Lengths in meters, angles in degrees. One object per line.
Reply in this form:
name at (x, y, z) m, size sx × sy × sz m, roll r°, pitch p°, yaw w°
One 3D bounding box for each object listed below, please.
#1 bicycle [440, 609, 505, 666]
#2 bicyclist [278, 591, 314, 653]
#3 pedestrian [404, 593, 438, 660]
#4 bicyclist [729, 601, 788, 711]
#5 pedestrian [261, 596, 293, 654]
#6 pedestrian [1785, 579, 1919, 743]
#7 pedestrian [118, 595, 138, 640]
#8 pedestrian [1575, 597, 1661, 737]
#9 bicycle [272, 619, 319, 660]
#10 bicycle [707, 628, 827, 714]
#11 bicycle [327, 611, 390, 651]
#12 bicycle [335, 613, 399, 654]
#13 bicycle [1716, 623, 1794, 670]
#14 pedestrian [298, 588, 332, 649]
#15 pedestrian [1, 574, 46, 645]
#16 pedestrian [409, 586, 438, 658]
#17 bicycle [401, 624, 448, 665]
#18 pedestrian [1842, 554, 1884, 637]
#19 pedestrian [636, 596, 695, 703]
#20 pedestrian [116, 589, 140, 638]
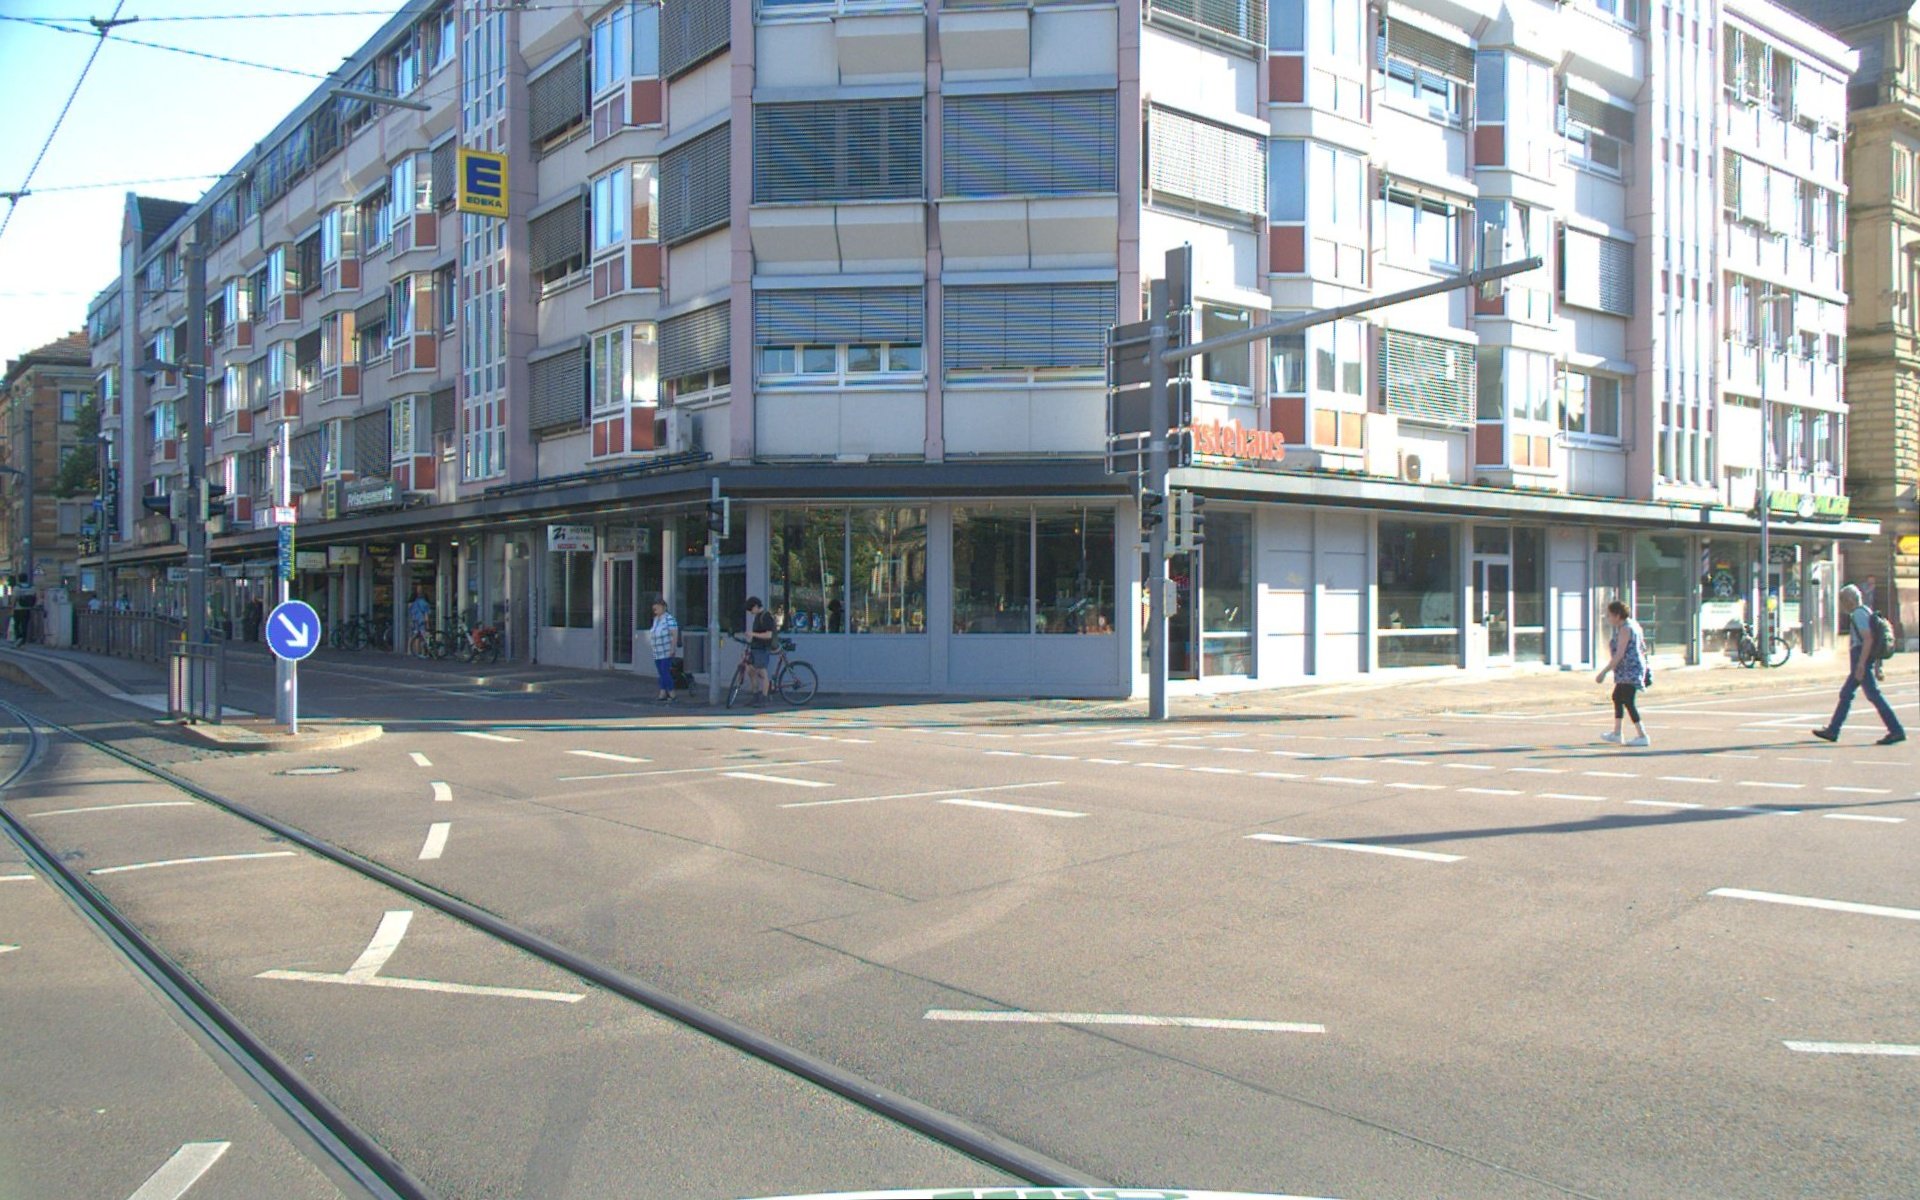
bicycle at (-11.146, 0.848, 37.766) m, size 0.721 × 1.248 × 2.303 m, roll 1°, pitch 0°, yaw -35°
bicyclist at (-17.348, 0.573, 43.233) m, size 0.615 × 1.559 × 0.800 m, roll -2°, pitch 2°, yaw -8°
pedestrian at (-13.643, 0.675, 41.853) m, size 0.596 × 1.664 × 0.604 m, roll 1°, pitch 1°, yaw 5°
bicyclist at (-3.092, 0.846, 25.354) m, size 0.651 × 1.624 × 0.632 m, roll -2°, pitch 3°, yaw -37°
pedestrian at (-19.831, 0.722, 48.029) m, size 0.743 × 1.673 × 0.544 m, roll 1°, pitch 1°, yaw -32°
pedestrian at (10.139, 0.663, 18.751) m, size 1.178 × 1.761 × 0.850 m, roll 2°, pitch 1°, yaw 45°
pedestrian at (-38.838, 0.822, 77.215) m, size 0.765 × 2.048 × 0.499 m, roll 0°, pitch 1°, yaw -33°
pedestrian at (7.332, 0.754, 18.447) m, size 0.836 × 1.490 × 0.686 m, roll 2°, pitch -4°, yaw 20°
bicycle at (-17.442, 1.024, 43.442) m, size 0.614 × 0.946 × 1.908 m, roll -2°, pitch 2°, yaw -6°
bicycle at (-2.961, 1.072, 25.465) m, size 1.751 × 1.165 × 0.632 m, roll -3°, pitch 3°, yaw -38°
bicycle at (-17.544, 0.908, 48.266) m, size 1.635 × 1.138 × 0.557 m, roll 1°, pitch 1°, yaw -42°
bicycle at (-16.848, 0.947, 47.033) m, size 1.635 × 1.138 × 0.477 m, roll 1°, pitch 1°, yaw -42°
bicycle at (19.054, 1.106, 39.626) m, size 2.058 × 1.089 × 0.449 m, roll 1°, pitch 1°, yaw -25°
pedestrian at (-19.742, 0.558, 50.628) m, size 0.803 × 1.809 × 0.678 m, roll 1°, pitch 1°, yaw -11°
pedestrian at (-22.662, 0.233, 40.009) m, size 0.672 × 1.688 × 0.776 m, roll 2°, pitch 1°, yaw 43°
pedestrian at (-14.296, 0.585, 44.064) m, size 0.602 × 1.884 × 0.597 m, roll 1°, pitch 1°, yaw -31°
bicycle at (-12.995, 1.060, 40.121) m, size 0.495 × 0.933 × 2.053 m, roll 1°, pitch 0°, yaw -35°
pedestrian at (26.792, -0.137, 49.066) m, size 0.912 × 2.440 × 0.956 m, roll 2°, pitch 1°, yaw 38°
pedestrian at (-4.732, 0.791, 26.550) m, size 0.700 × 1.691 × 0.633 m, roll 0°, pitch -1°, yaw 25°
pedestrian at (-35.824, 0.577, 71.240) m, size 0.831 × 2.049 × 0.769 m, roll 1°, pitch 1°, yaw -32°
